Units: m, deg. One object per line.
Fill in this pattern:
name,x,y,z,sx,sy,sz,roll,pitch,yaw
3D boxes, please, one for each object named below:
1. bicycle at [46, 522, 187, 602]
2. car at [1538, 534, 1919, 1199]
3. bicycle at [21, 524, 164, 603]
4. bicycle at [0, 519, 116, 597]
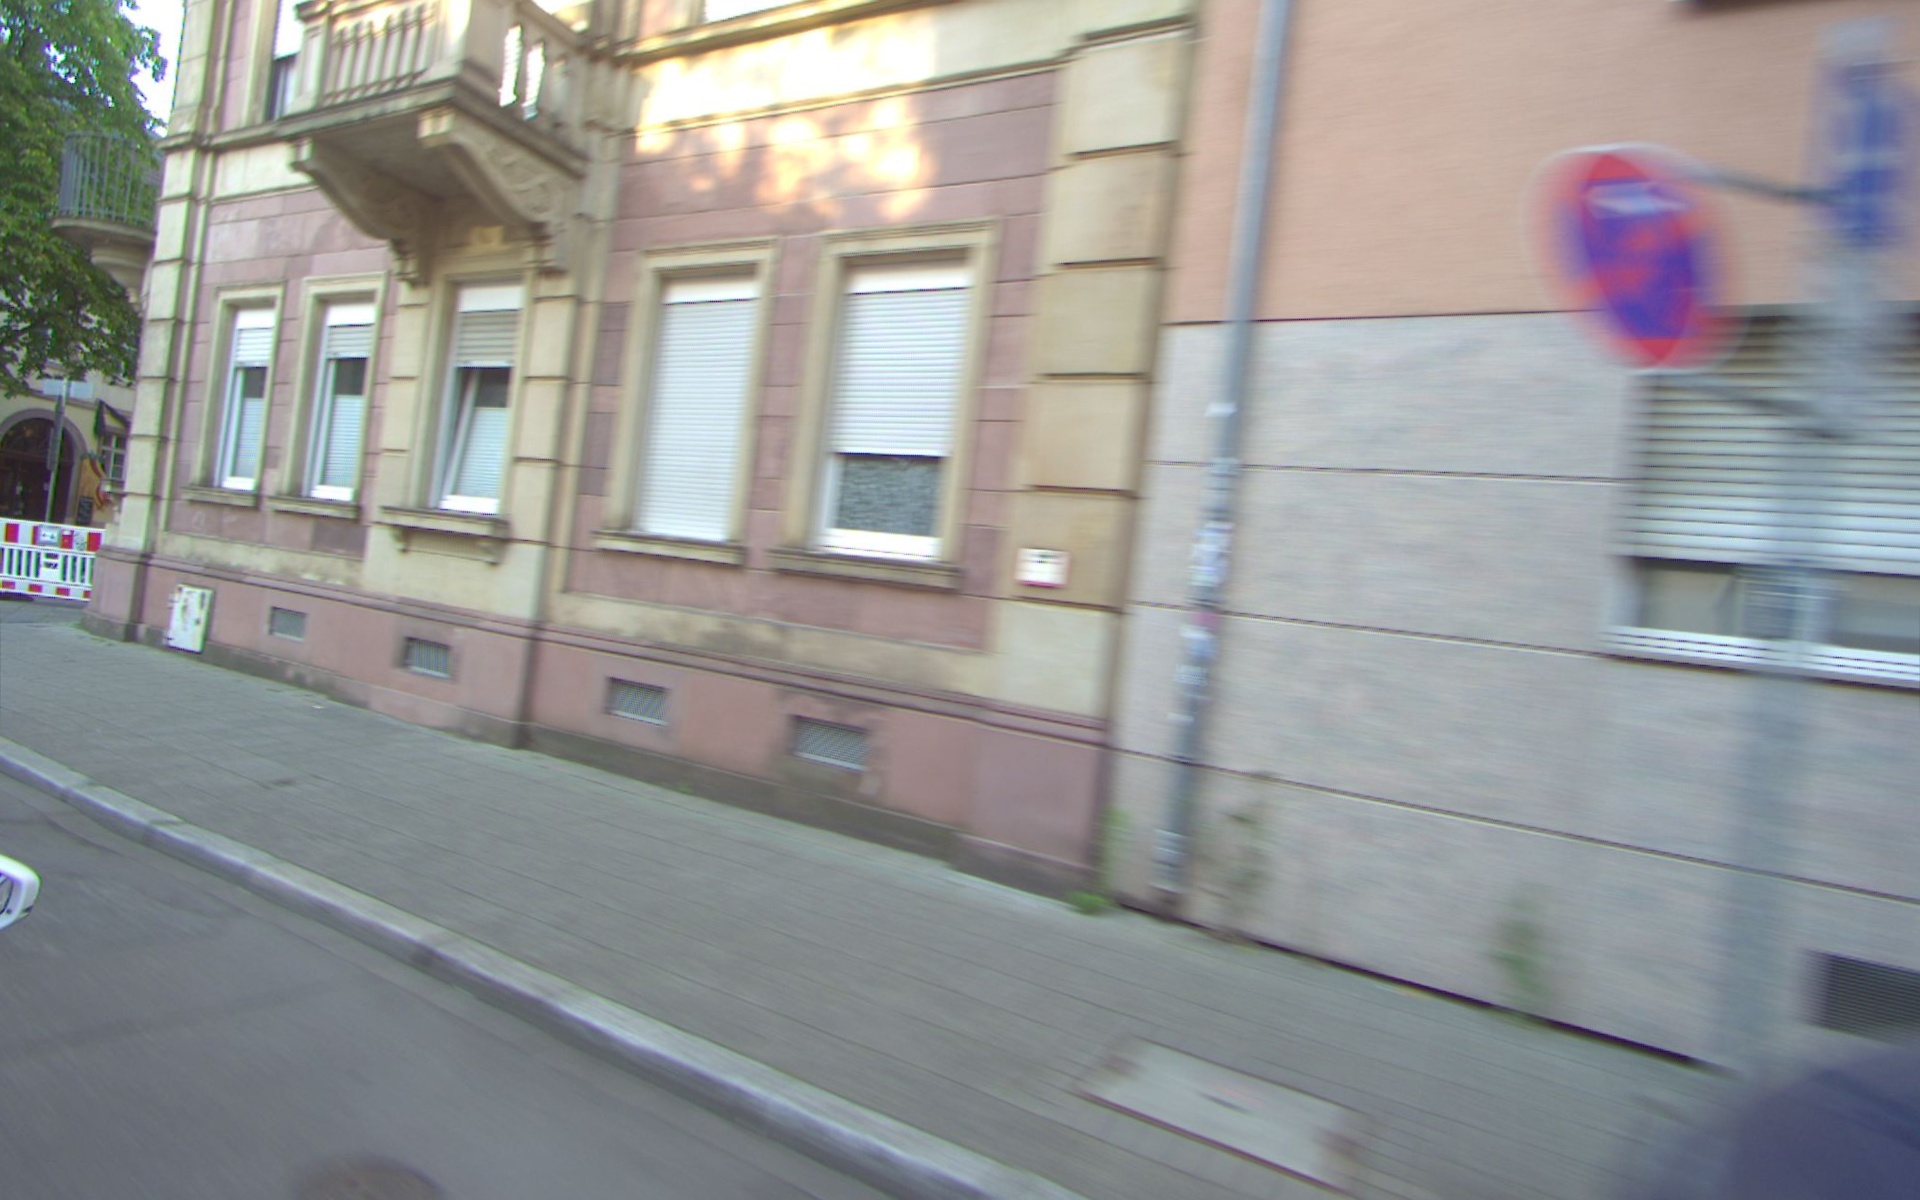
bicycle,-13.090,-0.552,15.691,0.357,1.103,1.871,5,0,7
car,2.821,1.050,0.710,3.983,1.644,1.694,7,-1,27
bicycle,-13.580,-0.540,15.823,0.357,1.103,1.871,5,0,7
bicycle,-14.275,-0.639,15.699,0.357,1.103,1.871,5,0,7
